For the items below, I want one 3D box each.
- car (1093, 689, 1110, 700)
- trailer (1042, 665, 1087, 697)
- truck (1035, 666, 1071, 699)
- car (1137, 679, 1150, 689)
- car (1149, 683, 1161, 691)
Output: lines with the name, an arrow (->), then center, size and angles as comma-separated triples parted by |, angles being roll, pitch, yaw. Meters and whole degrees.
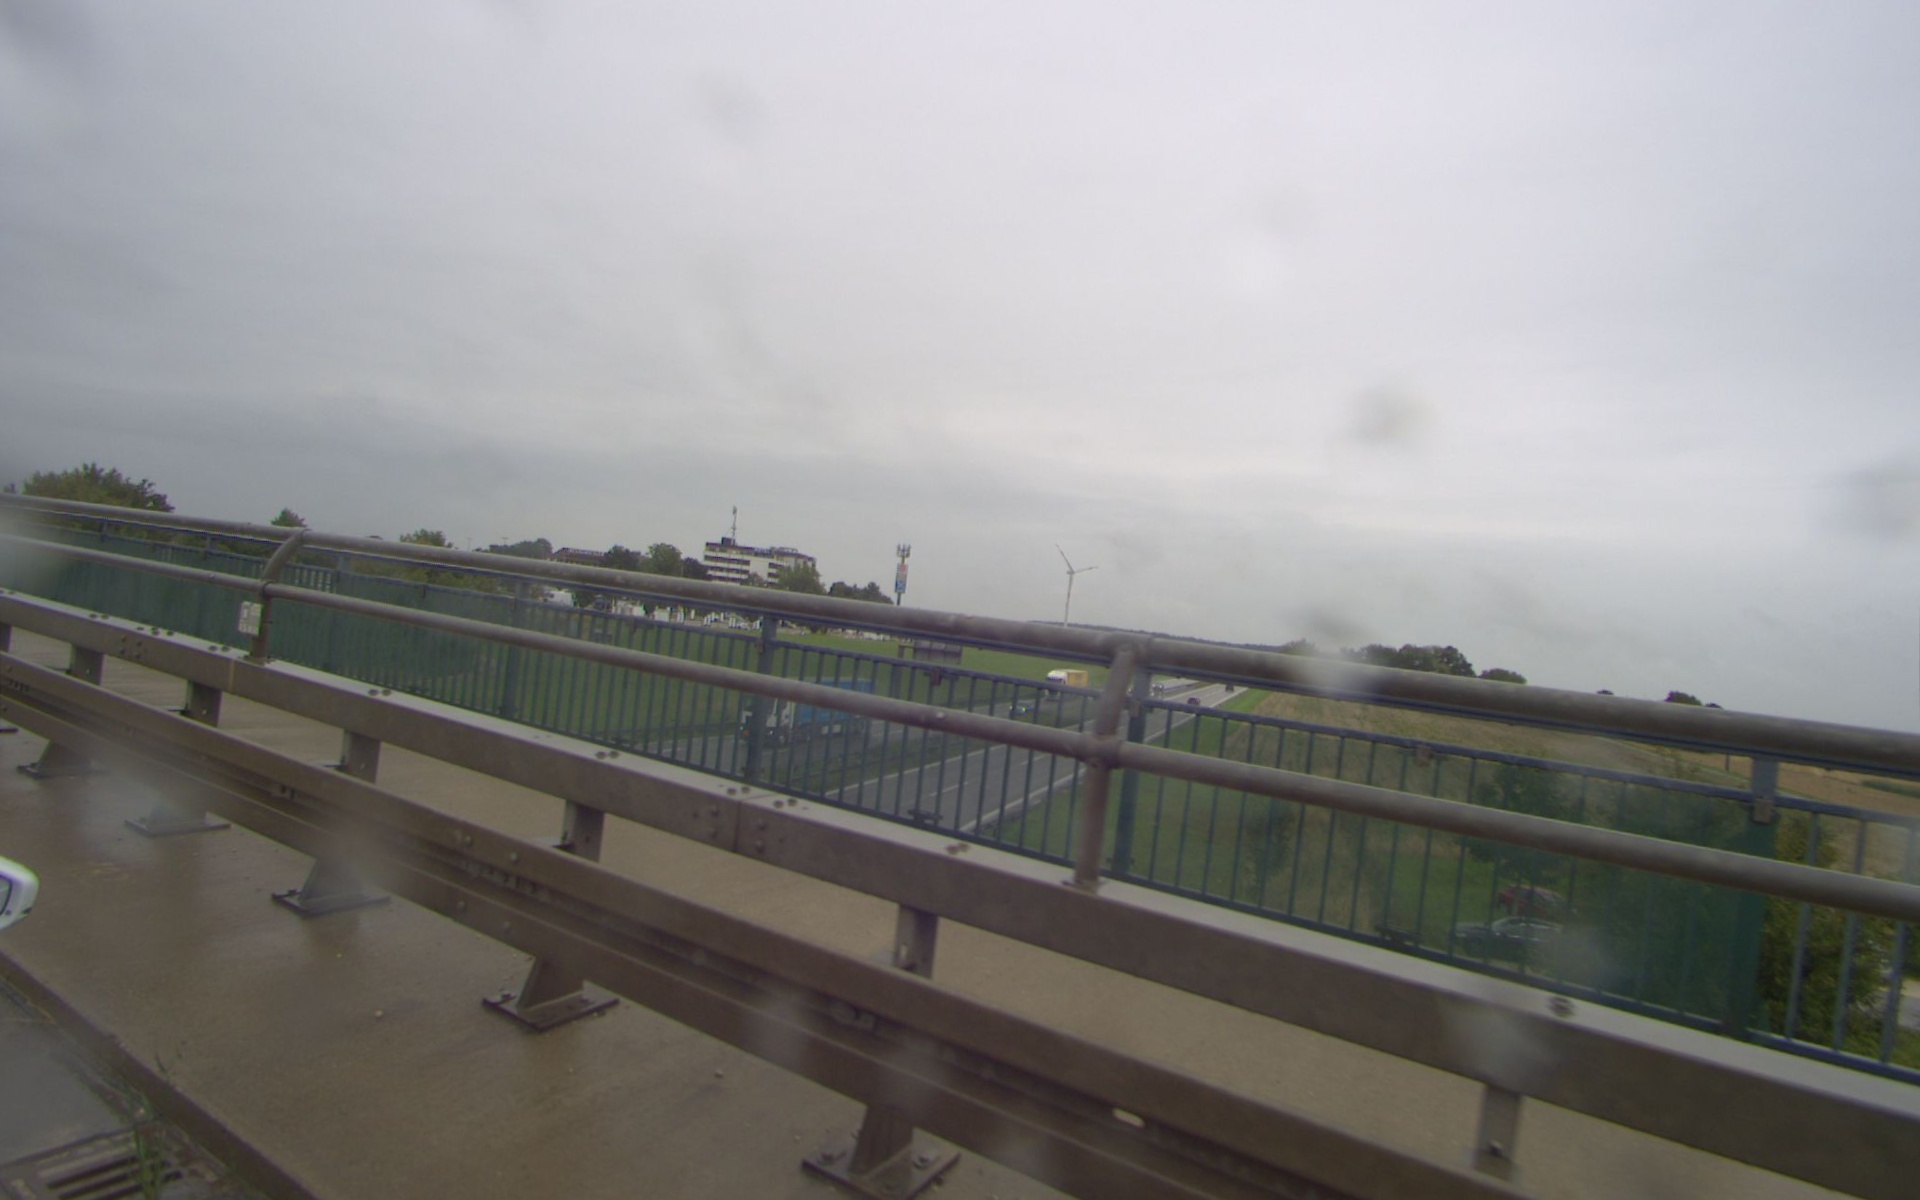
car -> 20.952, 14.012, 149.007 | 1.646, 1.366, 4.005 | 7, -3, 20
trailer -> 15.158, 11.556, 144.151 | 2.828, 4.014, 14.030 | 7, -1, 19
truck -> 12.761, 11.179, 137.186 | 2.828, 4.015, 6.823 | 7, -1, 19
car -> 38.642, 17.654, 211.545 | 1.962, 1.783, 4.007 | 7, -3, 18
car -> 39.898, 17.871, 206.073 | 1.646, 1.367, 4.002 | 7, -1, 20
